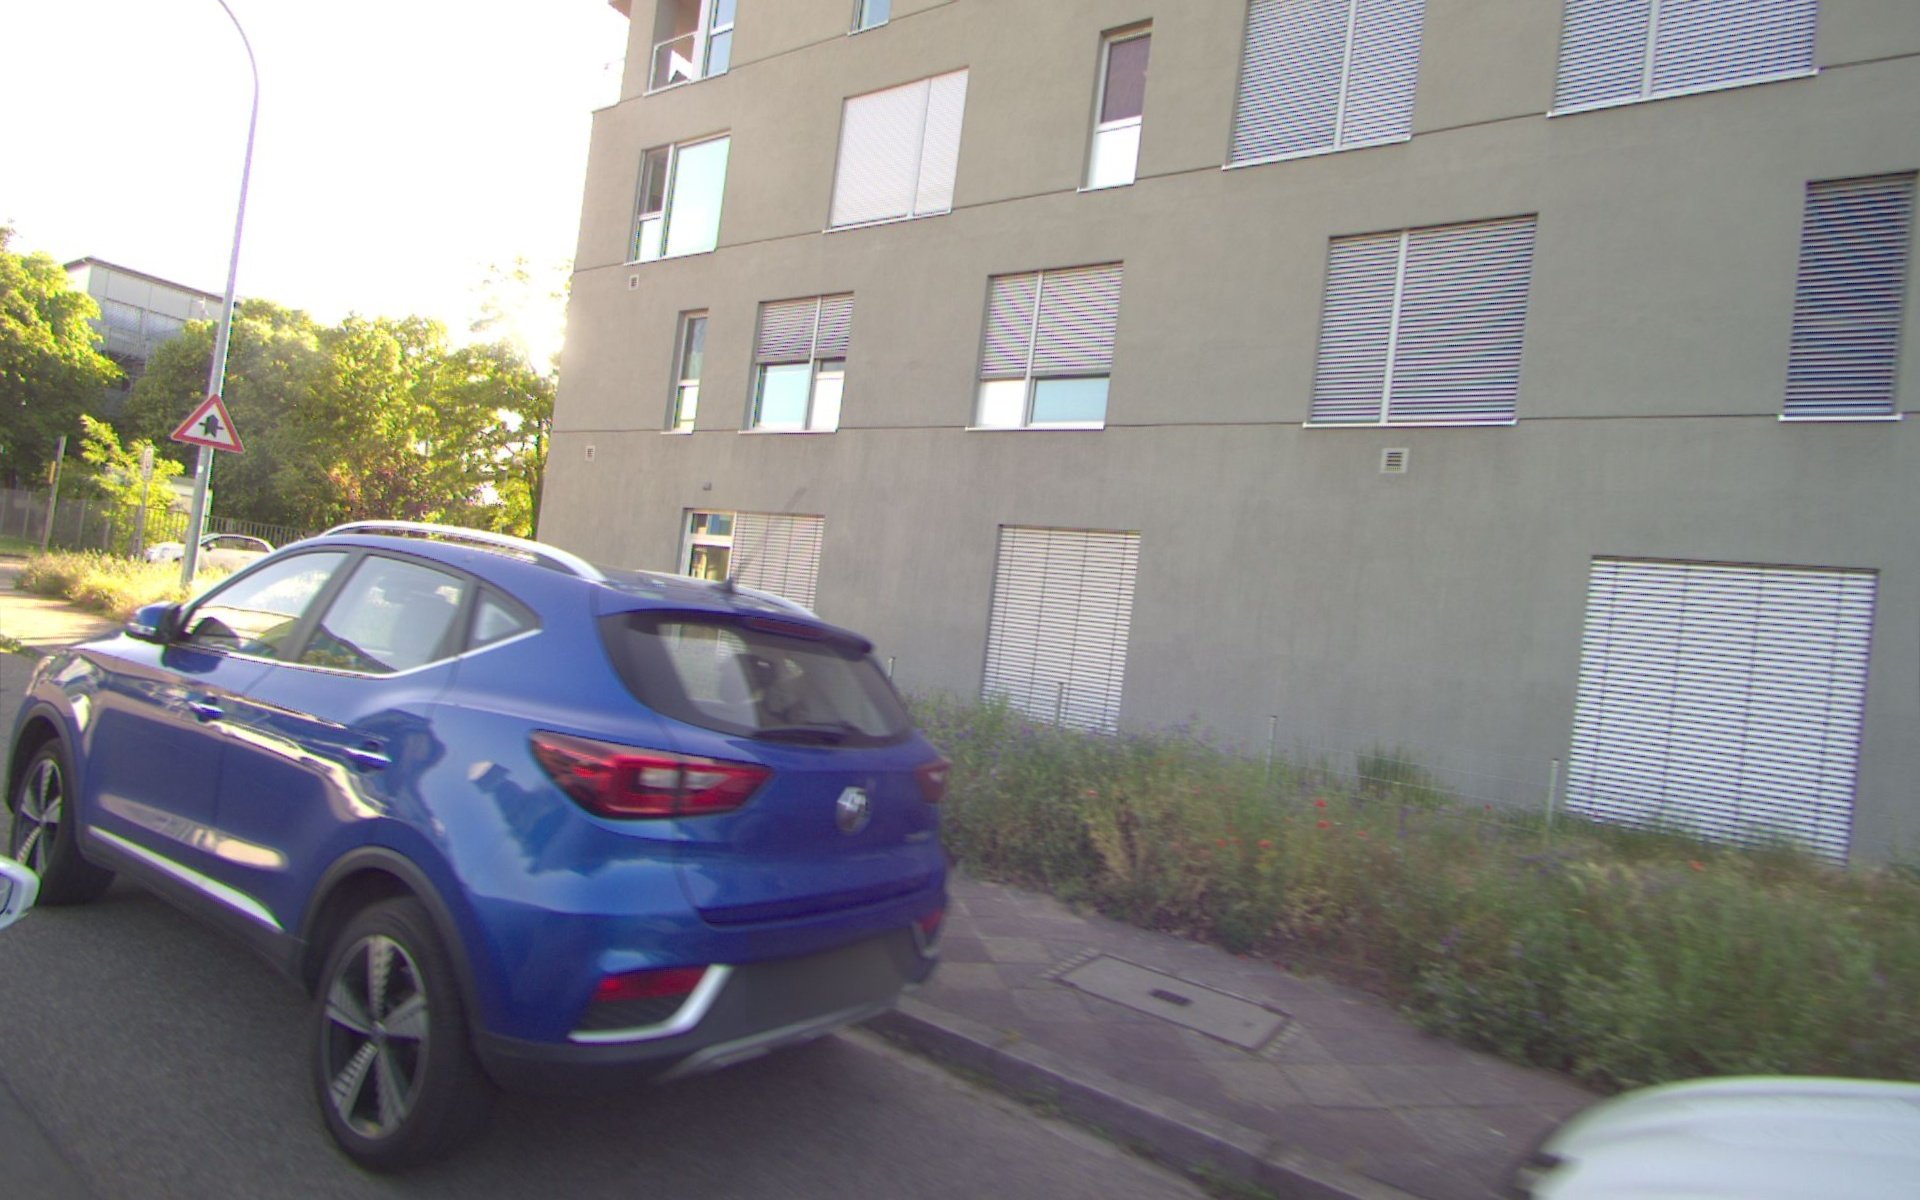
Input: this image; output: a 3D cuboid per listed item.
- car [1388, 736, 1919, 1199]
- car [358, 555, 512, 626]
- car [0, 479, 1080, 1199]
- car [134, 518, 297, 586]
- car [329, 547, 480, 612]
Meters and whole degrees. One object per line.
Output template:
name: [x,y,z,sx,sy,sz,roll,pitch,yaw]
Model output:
car: [2.785,1.181,0.577,4.513,1.444,1.748,6,-4,35]
car: [-14.629,-0.240,28.145,1.690,1.475,3.326,6,-2,39]
car: [-2.063,0.579,3.932,4.553,1.617,1.821,6,-4,33]
car: [-22.458,-1.422,30.443,1.575,1.503,3.550,6,-2,35]
car: [-19.286,-0.663,35.093,1.728,1.656,4.157,6,-2,35]
